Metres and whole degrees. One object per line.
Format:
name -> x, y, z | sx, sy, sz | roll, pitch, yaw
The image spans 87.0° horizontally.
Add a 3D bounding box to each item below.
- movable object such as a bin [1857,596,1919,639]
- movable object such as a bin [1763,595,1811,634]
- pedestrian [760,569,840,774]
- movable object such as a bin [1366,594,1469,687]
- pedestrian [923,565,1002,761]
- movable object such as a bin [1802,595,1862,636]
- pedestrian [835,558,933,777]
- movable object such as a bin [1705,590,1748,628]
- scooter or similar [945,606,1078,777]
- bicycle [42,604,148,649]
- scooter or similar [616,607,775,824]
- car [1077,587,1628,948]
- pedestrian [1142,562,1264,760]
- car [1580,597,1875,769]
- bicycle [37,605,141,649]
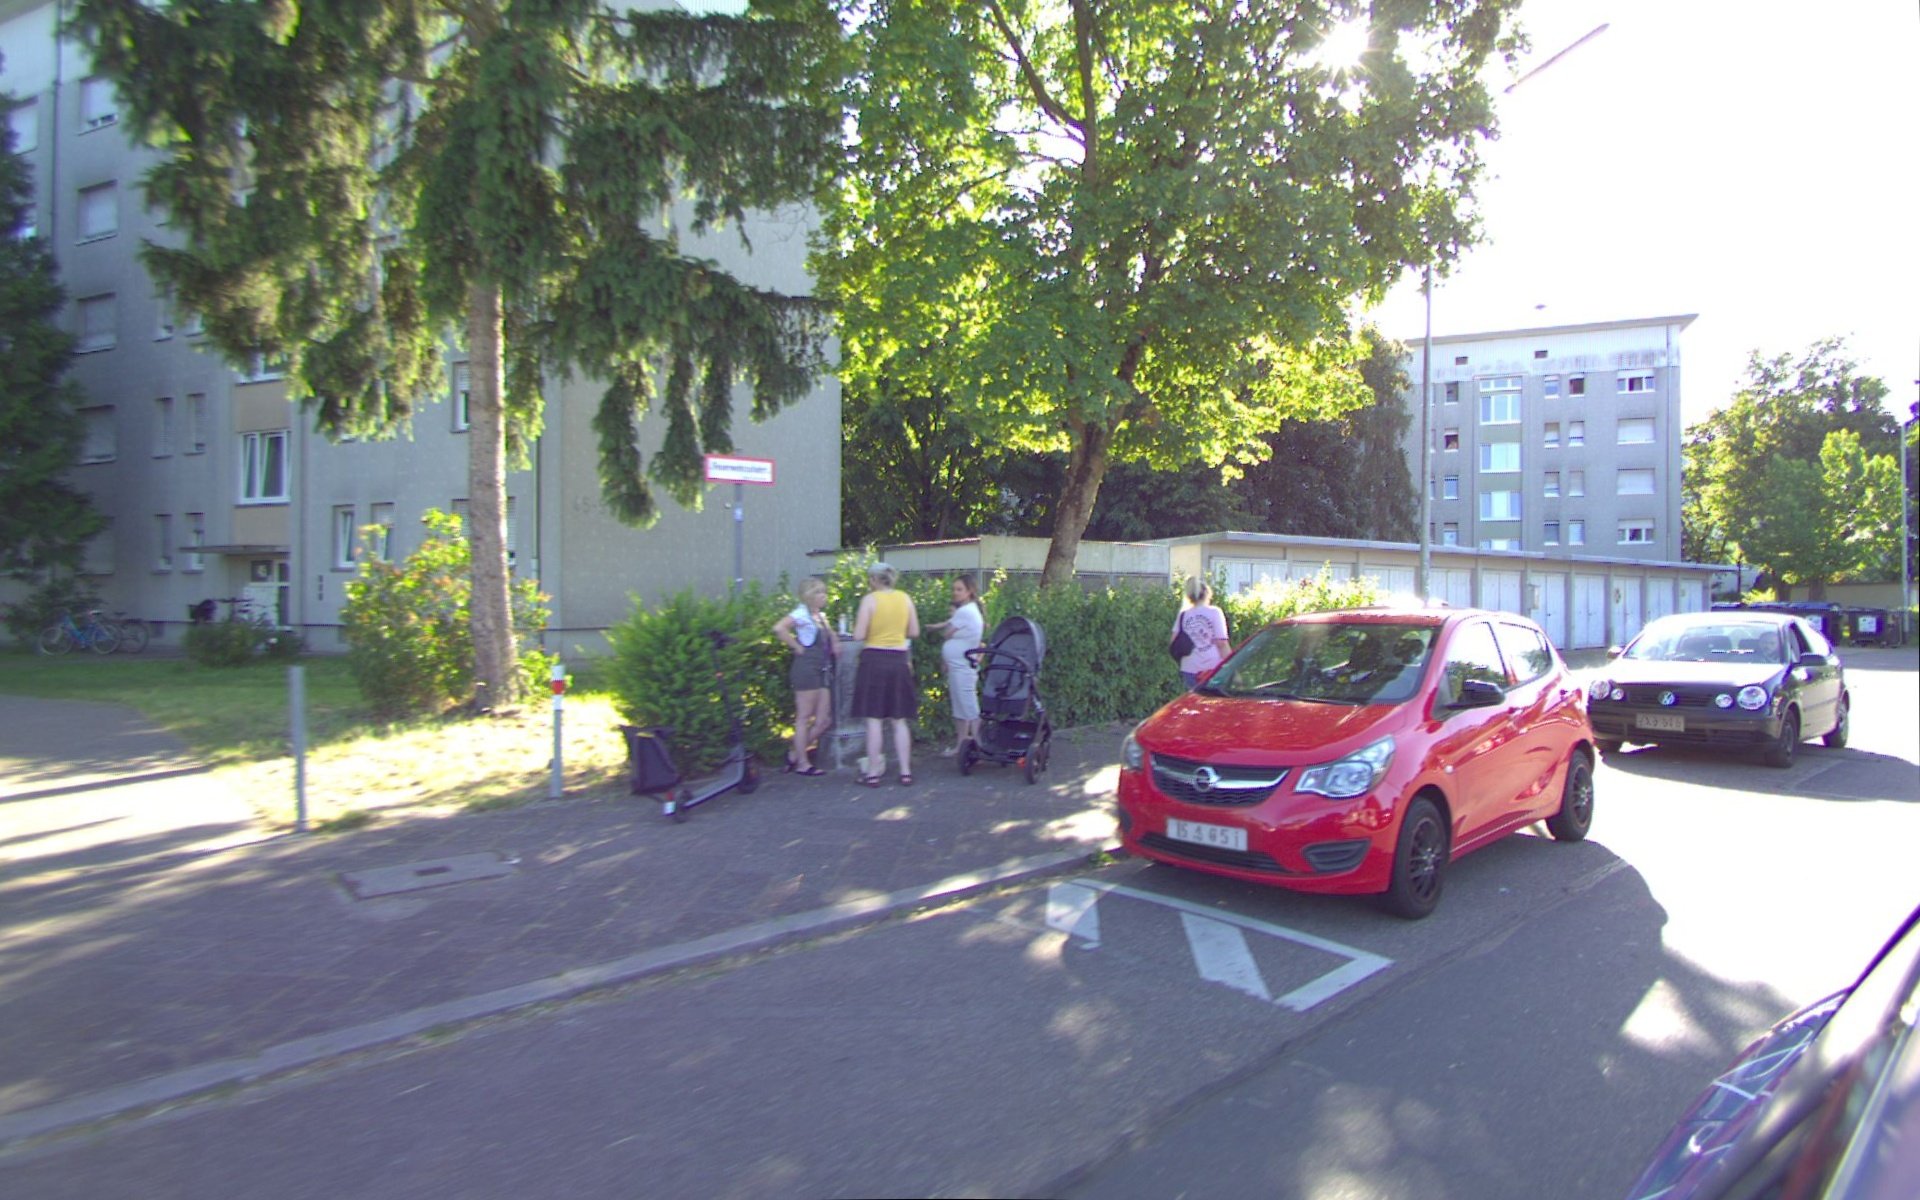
movable object such as a bin -> 30.766, 0.573, 33.517 | 1.031, 1.364, 1.256 | -1, 1, -24
movable object such as a bin -> 29.751, 0.520, 36.419 | 0.847, 1.364, 1.081 | -1, 0, -24
pedestrian -> -1.238, 0.525, 7.824 | 0.492, 1.521, 0.362 | -2, 2, -43
movable object such as a bin -> 7.368, 0.619, 16.325 | 0.898, 1.421, 1.240 | -1, 0, -39
pedestrian -> 0.019, 0.499, 8.529 | 0.461, 1.584, 0.486 | -2, 2, -44
movable object such as a bin -> 30.234, 0.514, 35.103 | 1.031, 1.364, 1.256 | -1, 1, -24
pedestrian -> -0.578, 0.475, 7.659 | 0.585, 1.584, 0.483 | -1, 2, -30
movable object such as a bin -> 29.757, 0.340, 39.277 | 0.817, 1.434, 1.080 | -1, 0, -30
scooter or similar -> 0.415, 0.687, 8.092 | 0.889, 1.242, 0.624 | -1, 1, -41
bicycle -> -17.877, 0.538, 20.953 | 1.651, 0.857, 0.512 | -1, -2, -41
scooter or similar -> -1.697, 0.691, 6.652 | 0.395, 1.242, 1.247 | 0, 1, 18
car -> 2.522, 0.682, 6.029 | 3.725, 1.465, 1.577 | -1, 0, -43
pedestrian -> 2.063, 0.497, 8.625 | 0.560, 1.585, 0.788 | -1, -2, -40
car -> 8.141, 0.713, 10.627 | 3.813, 1.420, 1.651 | -1, 1, -40
bicycle -> -18.412, 0.562, 21.436 | 1.651, 0.857, 0.512 | -1, -2, -41
